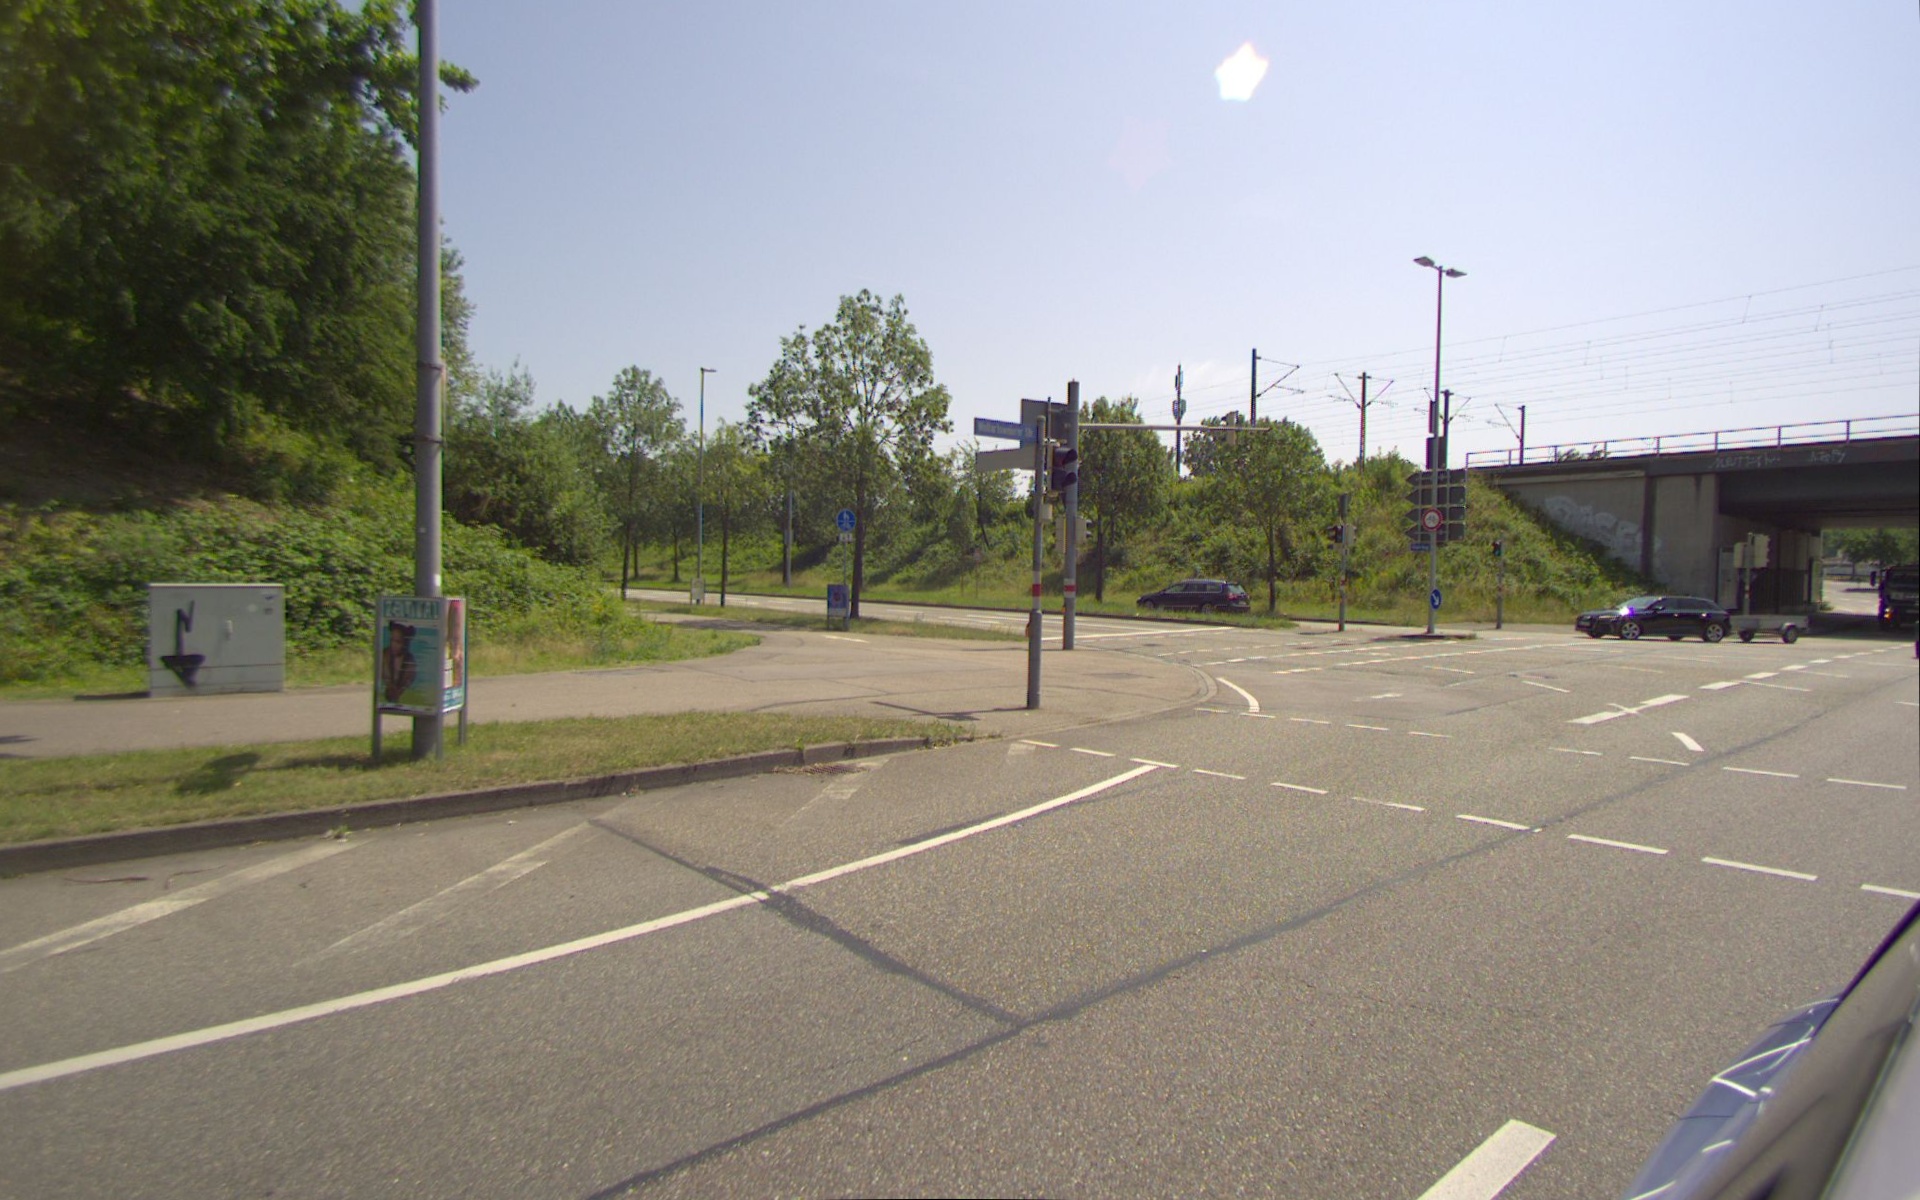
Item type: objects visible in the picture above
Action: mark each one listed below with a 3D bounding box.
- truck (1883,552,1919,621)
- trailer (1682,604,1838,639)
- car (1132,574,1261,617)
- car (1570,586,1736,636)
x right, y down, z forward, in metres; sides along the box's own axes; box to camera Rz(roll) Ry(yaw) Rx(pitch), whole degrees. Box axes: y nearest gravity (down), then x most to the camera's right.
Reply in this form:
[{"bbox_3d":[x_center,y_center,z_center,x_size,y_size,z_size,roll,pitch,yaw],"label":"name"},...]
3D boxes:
[{"bbox_3d":[44.084,-0.605,46.115,2.878,2.952,8.383,0,1,43],"label":"truck"},{"bbox_3d":[24.923,0.658,31.580,3.754,0.954,1.685,1,1,-9],"label":"trailer"},{"bbox_3d":[9.222,-0.206,39.727,4.658,1.521,1.782,2,2,43],"label":"car"},{"bbox_3d":[21.332,0.328,31.255,3.829,1.407,1.810,1,1,0],"label":"car"}]
